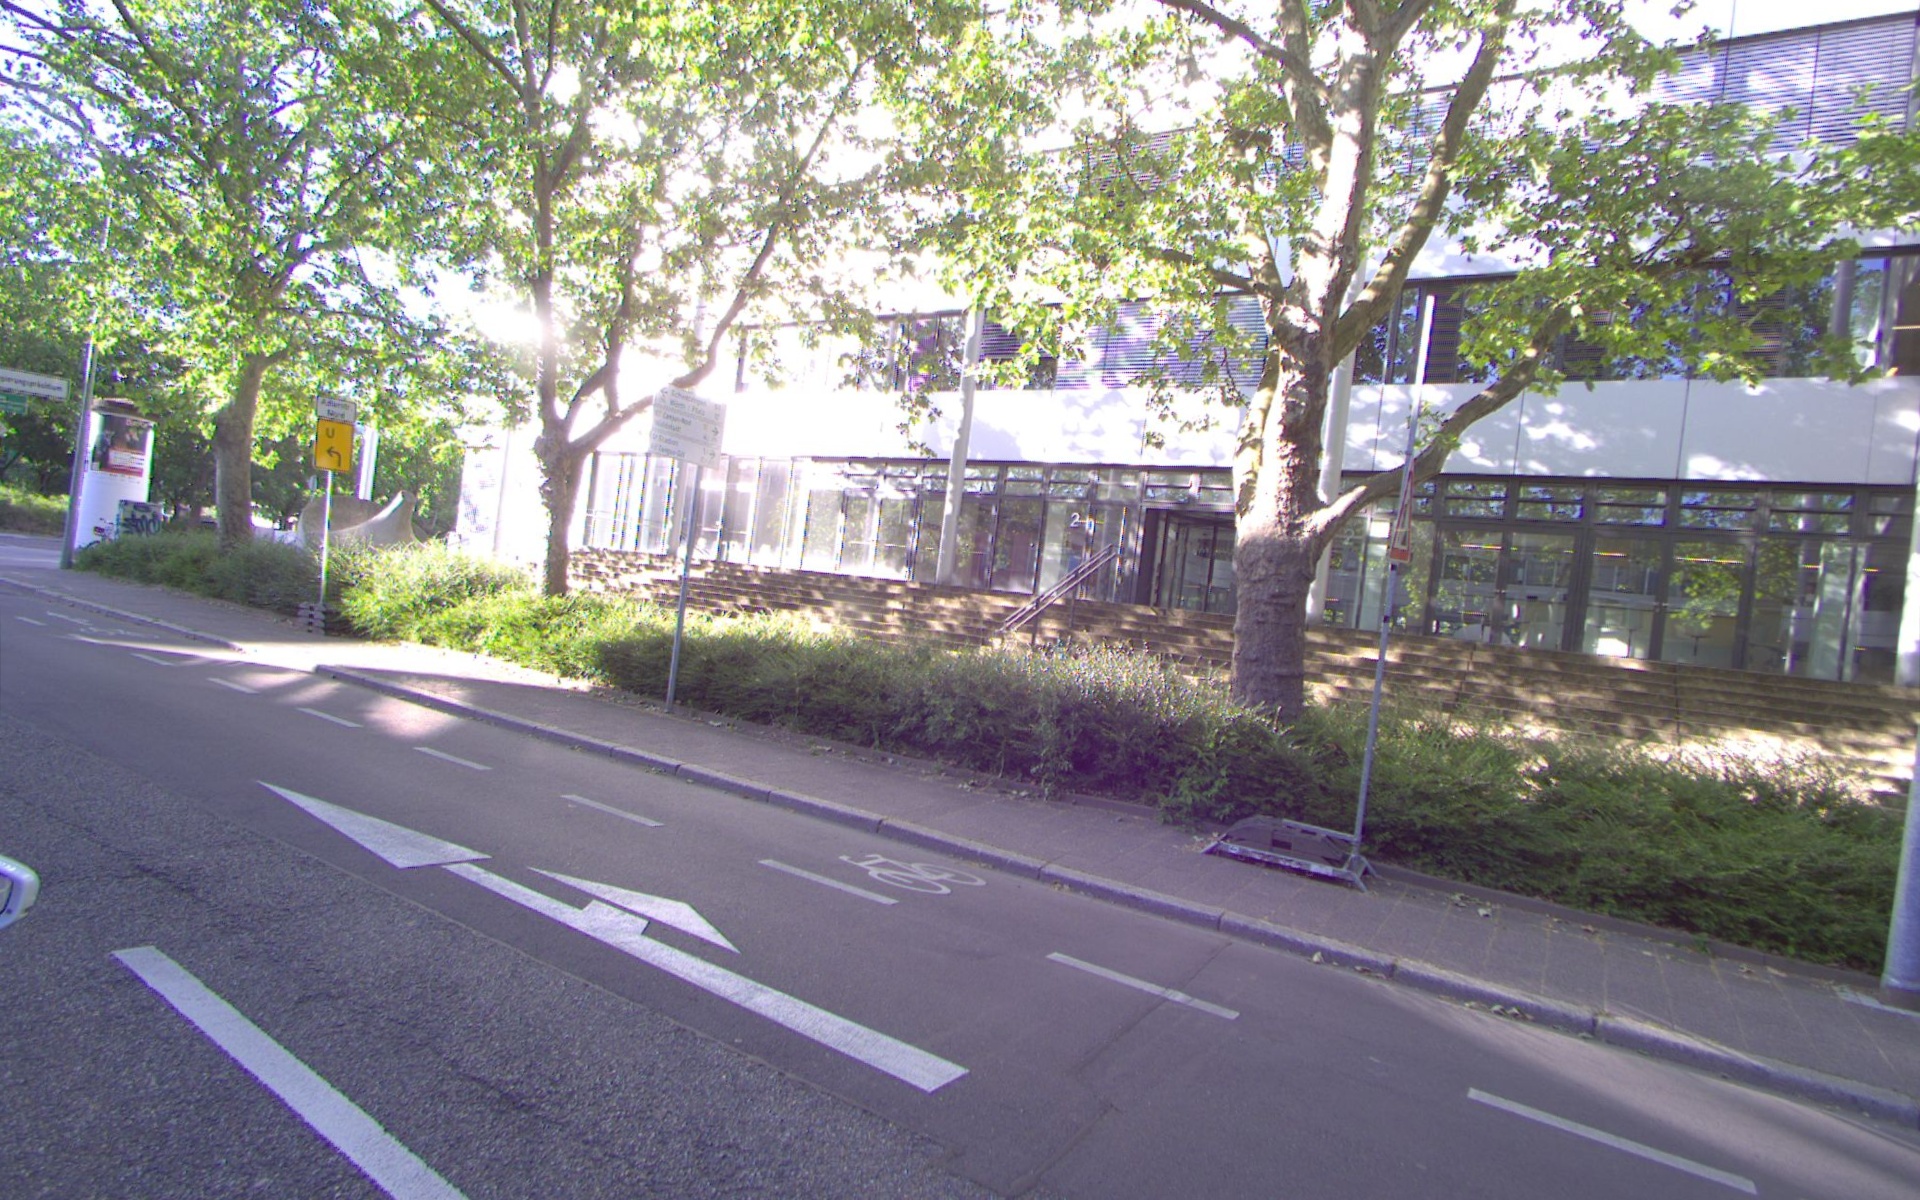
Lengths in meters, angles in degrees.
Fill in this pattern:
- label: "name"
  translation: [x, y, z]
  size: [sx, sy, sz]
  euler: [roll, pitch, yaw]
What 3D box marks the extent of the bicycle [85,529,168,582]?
- label: "bicycle"
  translation: [-19.239, -1.014, 23.240]
  size: [0.357, 1.036, 1.354]
  euler: [7, -1, 33]
